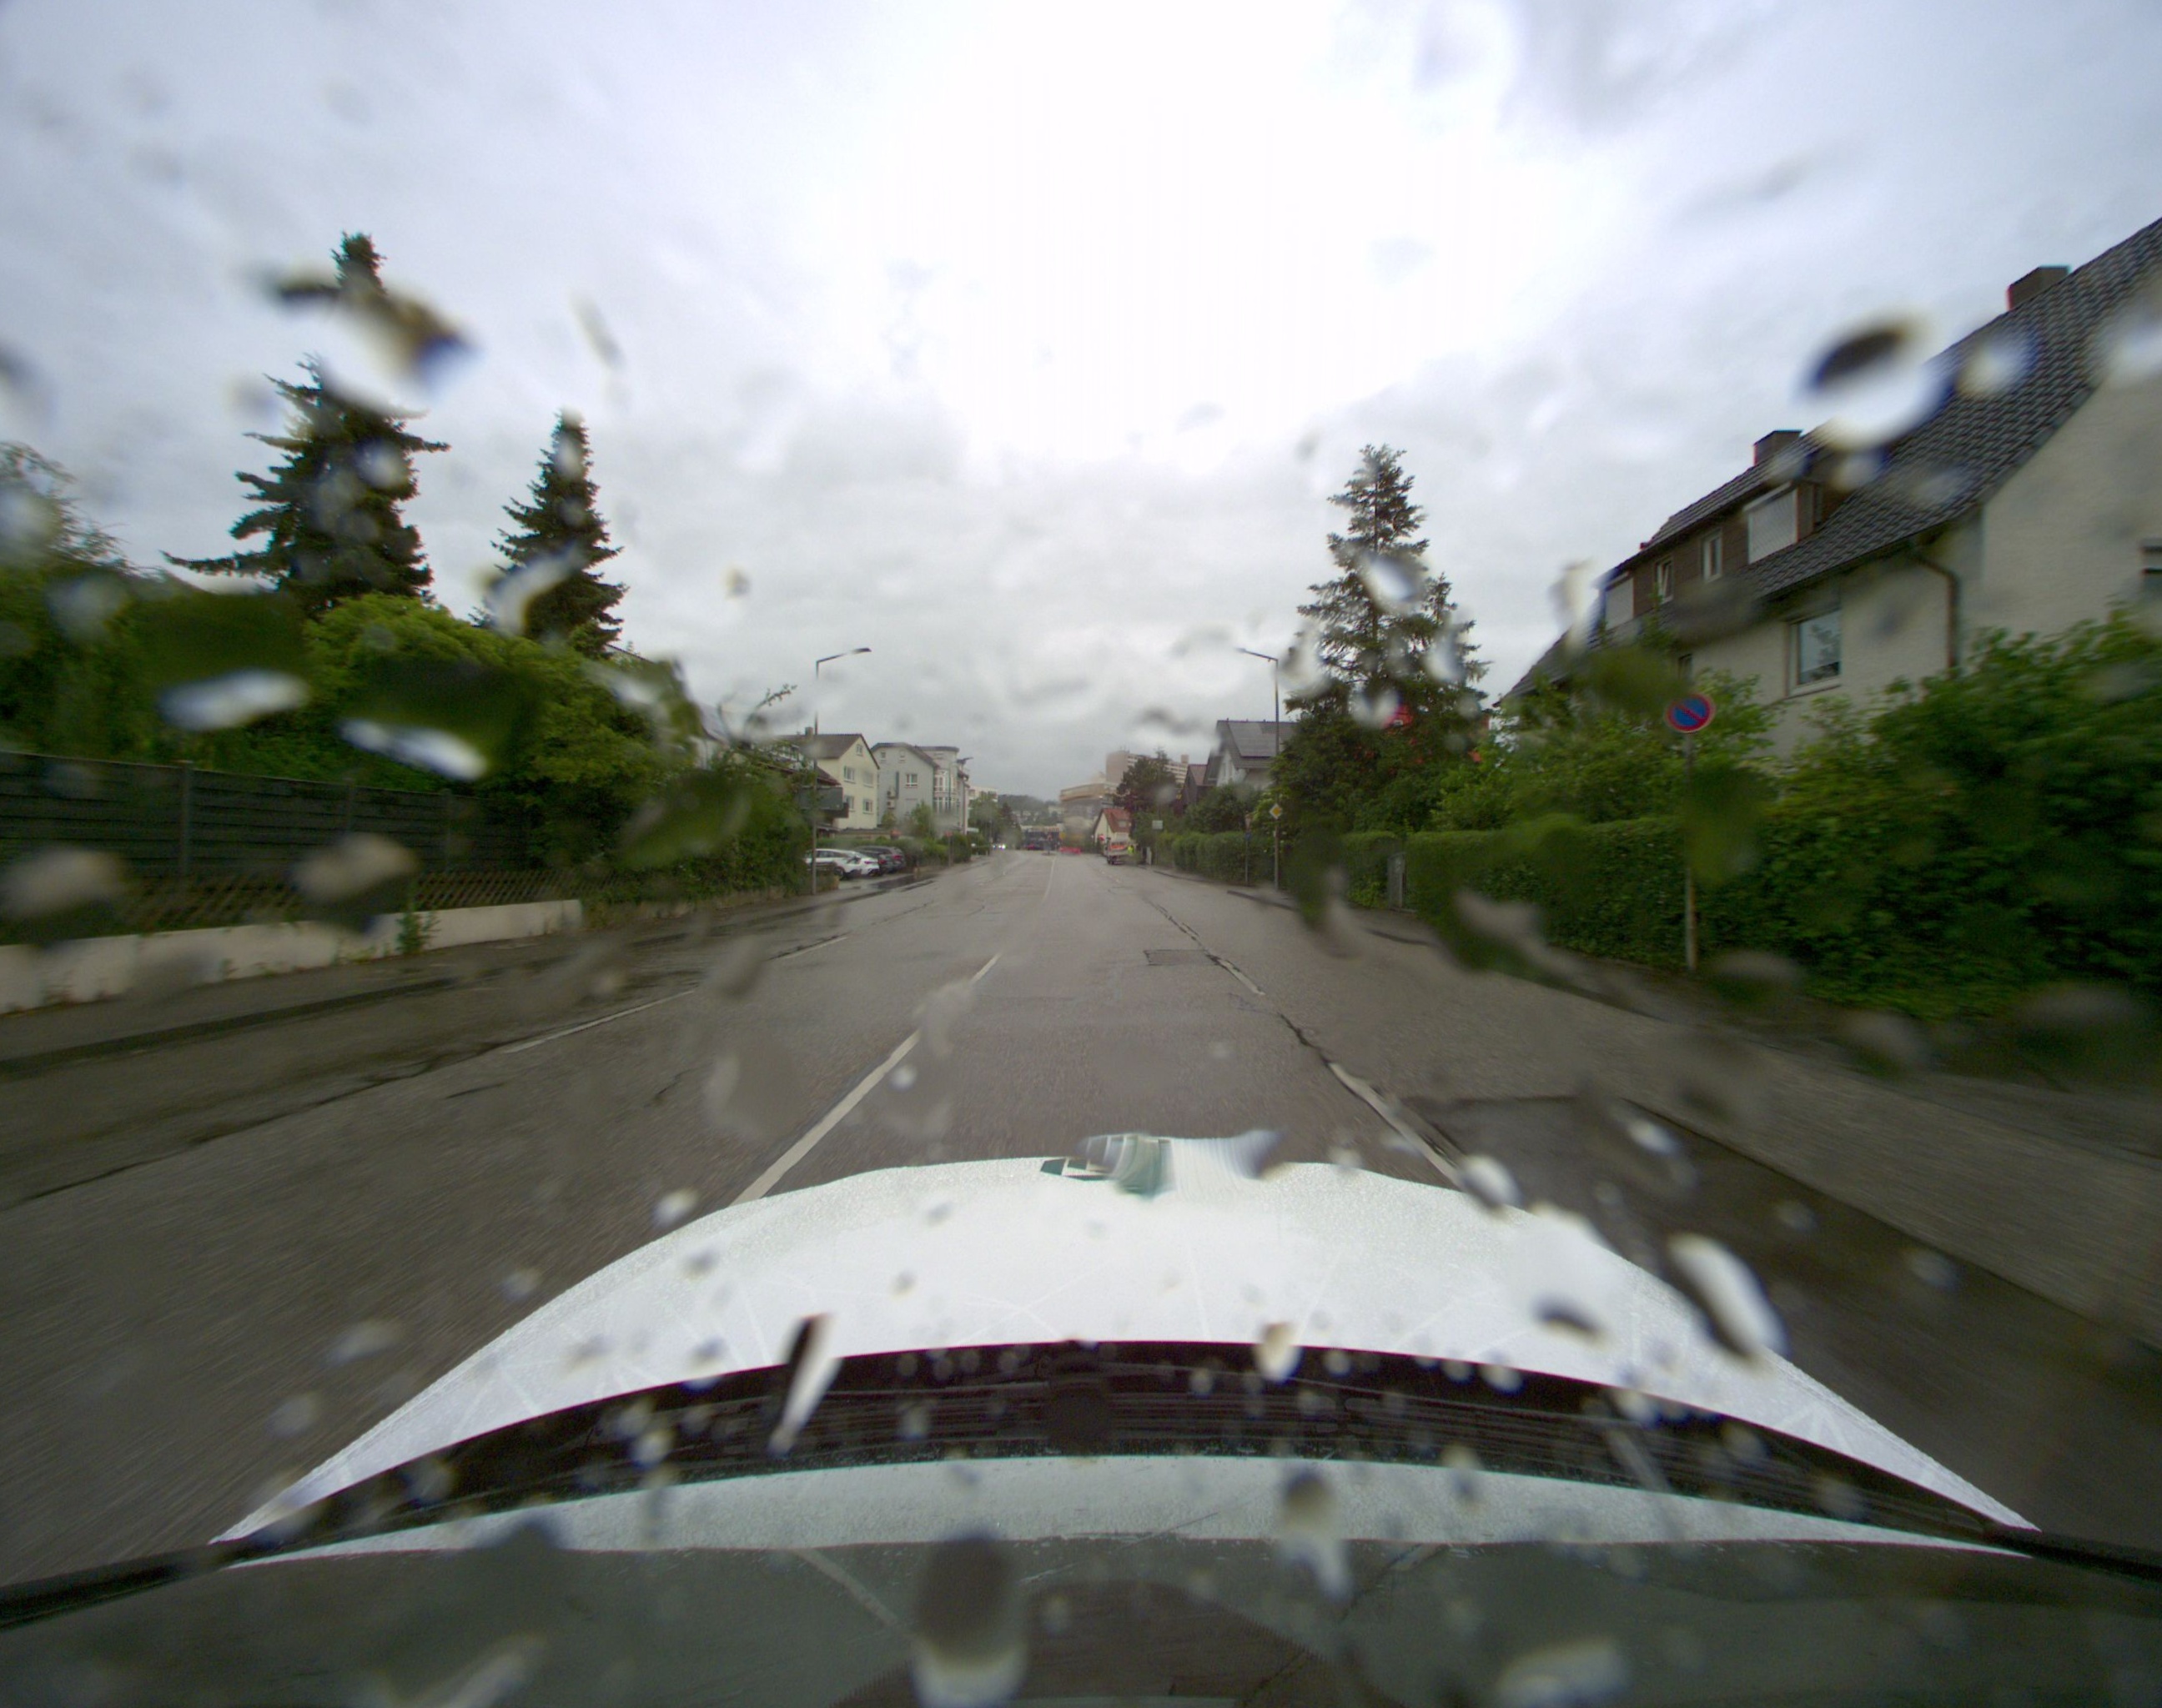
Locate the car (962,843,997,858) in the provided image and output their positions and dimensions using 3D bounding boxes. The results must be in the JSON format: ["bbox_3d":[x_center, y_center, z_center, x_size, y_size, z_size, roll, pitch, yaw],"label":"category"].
[{"bbox_3d":[-14.414,-0.485,115.720,4.491,2.013,2.007,1,0,13],"label":"car"}]

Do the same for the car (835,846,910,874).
[{"bbox_3d":[-12.632,0.365,49.476,3.965,1.686,1.813,-1,0,7],"label":"car"}]

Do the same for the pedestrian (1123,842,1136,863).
[{"bbox_3d":[4.023,-0.131,67.887,0.825,1.726,0.836,0,0,-19],"label":"pedestrian"}]

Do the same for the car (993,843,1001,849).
[{"bbox_3d":[-18.987,-1.793,184.195,1.655,1.463,3.998,0,0,-1],"label":"car"}]

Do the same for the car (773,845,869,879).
[{"bbox_3d":[-12.958,0.388,40.791,4.081,1.585,1.958,1,0,3],"label":"car"}]

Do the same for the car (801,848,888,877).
[{"bbox_3d":[-12.566,0.437,43.508,3.968,1.434,1.974,1,0,5],"label":"car"}]

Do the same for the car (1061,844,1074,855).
[{"bbox_3d":[-2.072,-0.648,127.091,1.788,1.669,4.000,-1,0,0],"label":"car"}]

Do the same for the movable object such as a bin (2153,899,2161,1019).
[{"bbox_3d":[8.494,0.807,6.148,0.365,0.916,0.327,-1,0,1],"label":"movable object such as a bin"}]

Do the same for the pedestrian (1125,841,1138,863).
[{"bbox_3d":[4.169,-0.169,66.949,0.825,1.797,0.795,0,0,-19],"label":"pedestrian"}]

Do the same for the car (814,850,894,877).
[{"bbox_3d":[-12.760,0.524,45.878,3.967,1.446,1.708,-1,0,6],"label":"car"}]

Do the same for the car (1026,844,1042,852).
[{"bbox_3d":[-10.179,-1.207,175.293,1.565,1.438,4.022,4,-1,25],"label":"car"}]

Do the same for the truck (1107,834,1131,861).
[{"bbox_3d":[3.333,-0.557,71.618,1.985,2.303,4.003,0,0,2],"label":"truck"}]

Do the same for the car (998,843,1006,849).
[{"bbox_3d":[-18.626,-1.863,191.962,1.433,1.235,3.998,1,0,-1],"label":"car"}]
